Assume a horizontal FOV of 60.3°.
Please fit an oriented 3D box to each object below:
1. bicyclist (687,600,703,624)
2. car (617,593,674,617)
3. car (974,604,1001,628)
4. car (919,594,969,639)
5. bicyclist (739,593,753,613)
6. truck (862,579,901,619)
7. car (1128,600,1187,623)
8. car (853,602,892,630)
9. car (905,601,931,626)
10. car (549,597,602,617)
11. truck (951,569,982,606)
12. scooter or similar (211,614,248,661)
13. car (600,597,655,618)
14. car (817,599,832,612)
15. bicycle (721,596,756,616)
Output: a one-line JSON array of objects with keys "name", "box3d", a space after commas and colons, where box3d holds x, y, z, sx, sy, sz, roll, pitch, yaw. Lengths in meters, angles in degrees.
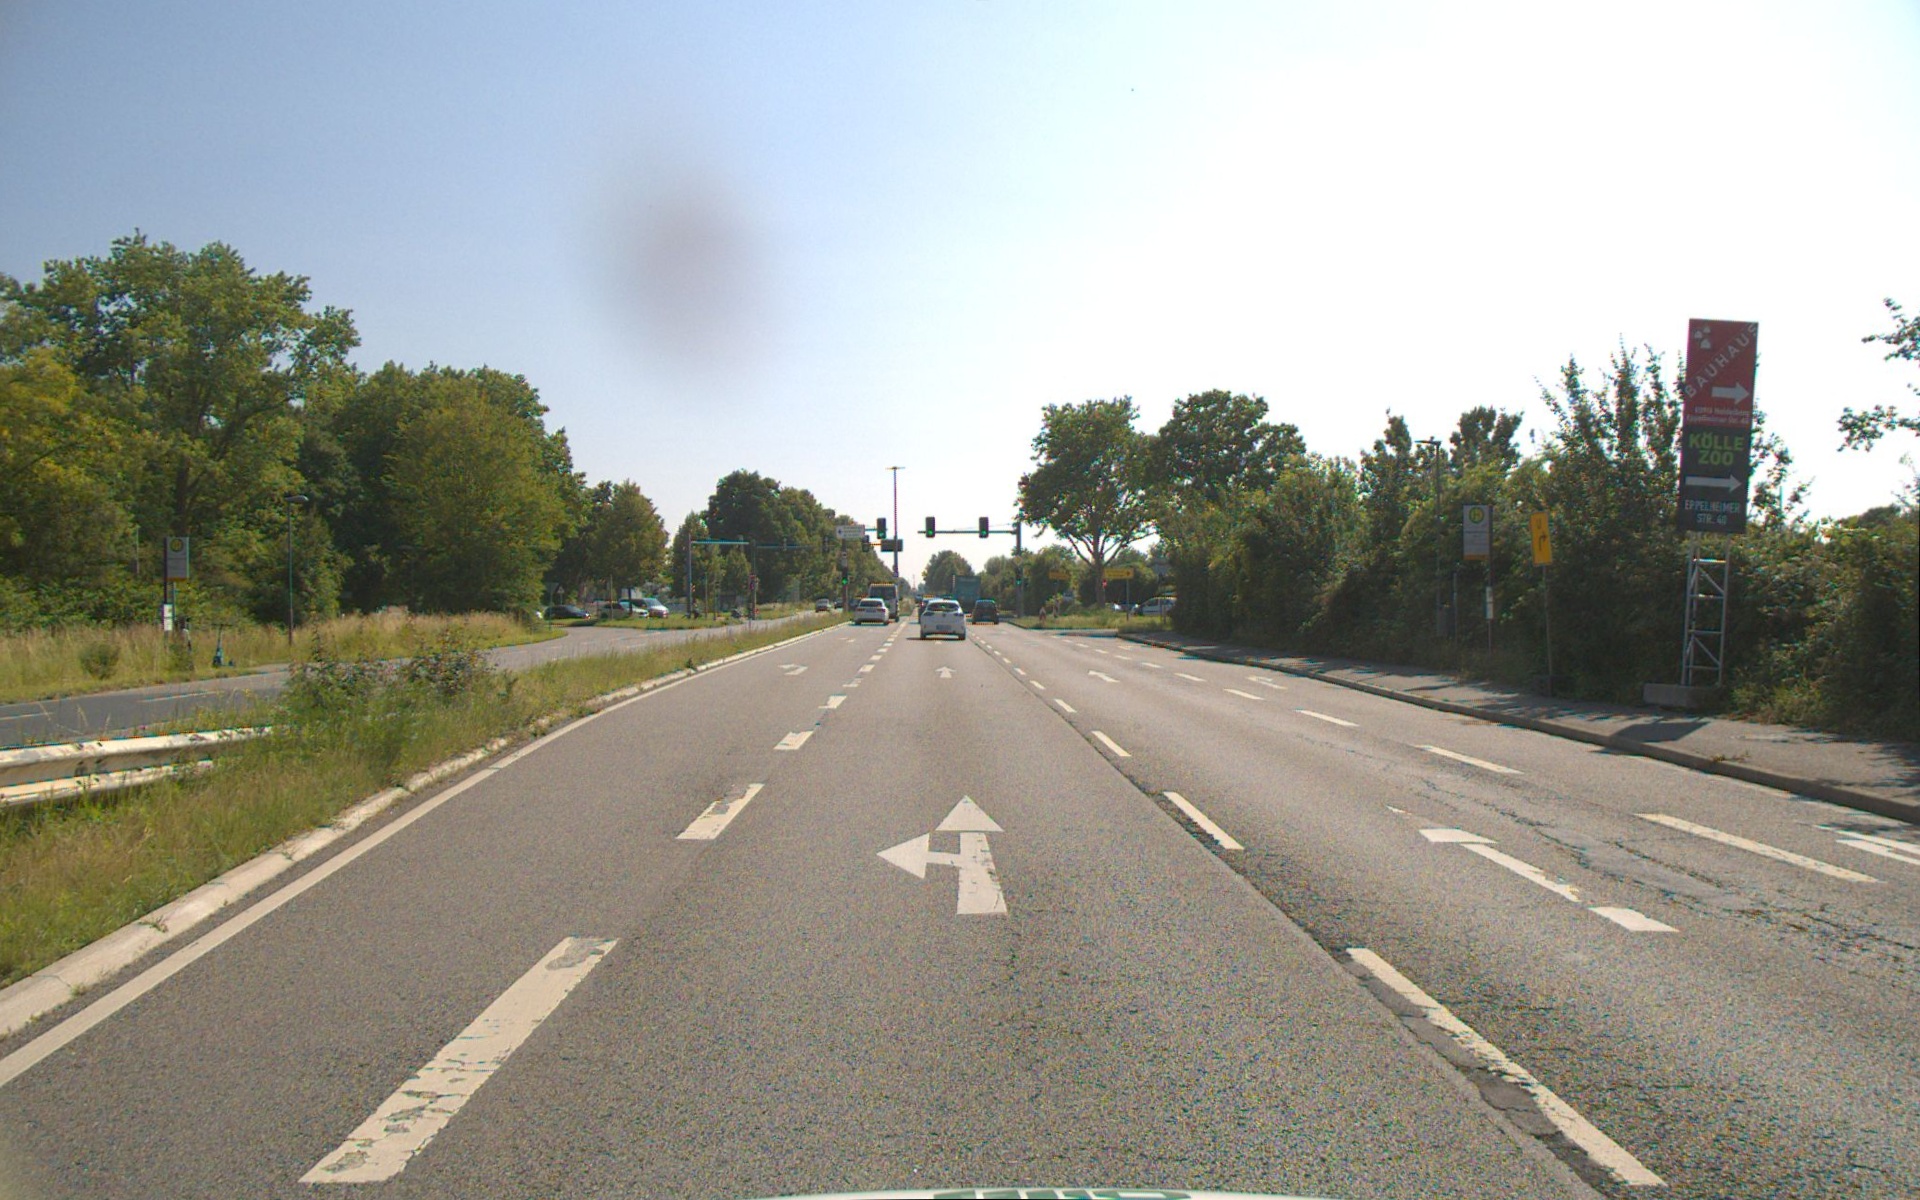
[{"name": "bicyclist", "box3d": [-17.473, 0.801, 109.096, 0.829, 1.544, 0.747, 1, 0, 4]}, {"name": "car", "box3d": [-25.789, 0.396, 135.713, 4.559, 1.984, 1.994, 0, -1, 34]}, {"name": "car", "box3d": [1.675, 0.995, 101.569, 1.540, 1.439, 3.276, 1, -1, -1]}, {"name": "car", "box3d": [-0.584, 0.599, 62.236, 1.762, 1.580, 4.000, 2, 0, 0]}, {"name": "bicyclist", "box3d": [-18.058, 0.250, 139.352, 0.845, 1.647, 0.757, 1, -1, 27]}, {"name": "truck", "box3d": [-4.991, -0.070, 105.686, 2.325, 2.431, 6.039, 0, 0, -1]}, {"name": "car", "box3d": [13.747, 0.814, 115.109, 3.670, 1.495, 1.784, 1, -1, 26]}, {"name": "car", "box3d": [-4.883, 0.874, 92.451, 1.775, 1.490, 4.971, 1, 0, 1]}, {"name": "car", "box3d": [-2.544, 0.814, 100.494, 1.540, 1.439, 3.276, 0, -1, -1]}, {"name": "car", "box3d": [-31.515, 0.578, 135.534, 4.180, 1.634, 1.998, 0, 0, 34]}, {"name": "truck", "box3d": [0.587, -1.189, 159.271, 2.833, 3.488, 9.167, 0, 0, -1]}, {"name": "scooter or similar", "box3d": [-19.062, 0.969, 43.171, 0.360, 1.206, 1.340, -1, -1, -1]}, {"name": "car", "box3d": [-26.612, 0.577, 132.187, 4.180, 1.634, 1.998, 0, 0, 34]}, {"name": "car", "box3d": [-15.306, 0.632, 187.048, 1.455, 1.439, 3.761, -2, 0, -1]}, {"name": "bicycle", "box3d": [-18.679, 0.510, 139.693, 2.737, 1.699, 1.135, -1, 0, 26]}]
